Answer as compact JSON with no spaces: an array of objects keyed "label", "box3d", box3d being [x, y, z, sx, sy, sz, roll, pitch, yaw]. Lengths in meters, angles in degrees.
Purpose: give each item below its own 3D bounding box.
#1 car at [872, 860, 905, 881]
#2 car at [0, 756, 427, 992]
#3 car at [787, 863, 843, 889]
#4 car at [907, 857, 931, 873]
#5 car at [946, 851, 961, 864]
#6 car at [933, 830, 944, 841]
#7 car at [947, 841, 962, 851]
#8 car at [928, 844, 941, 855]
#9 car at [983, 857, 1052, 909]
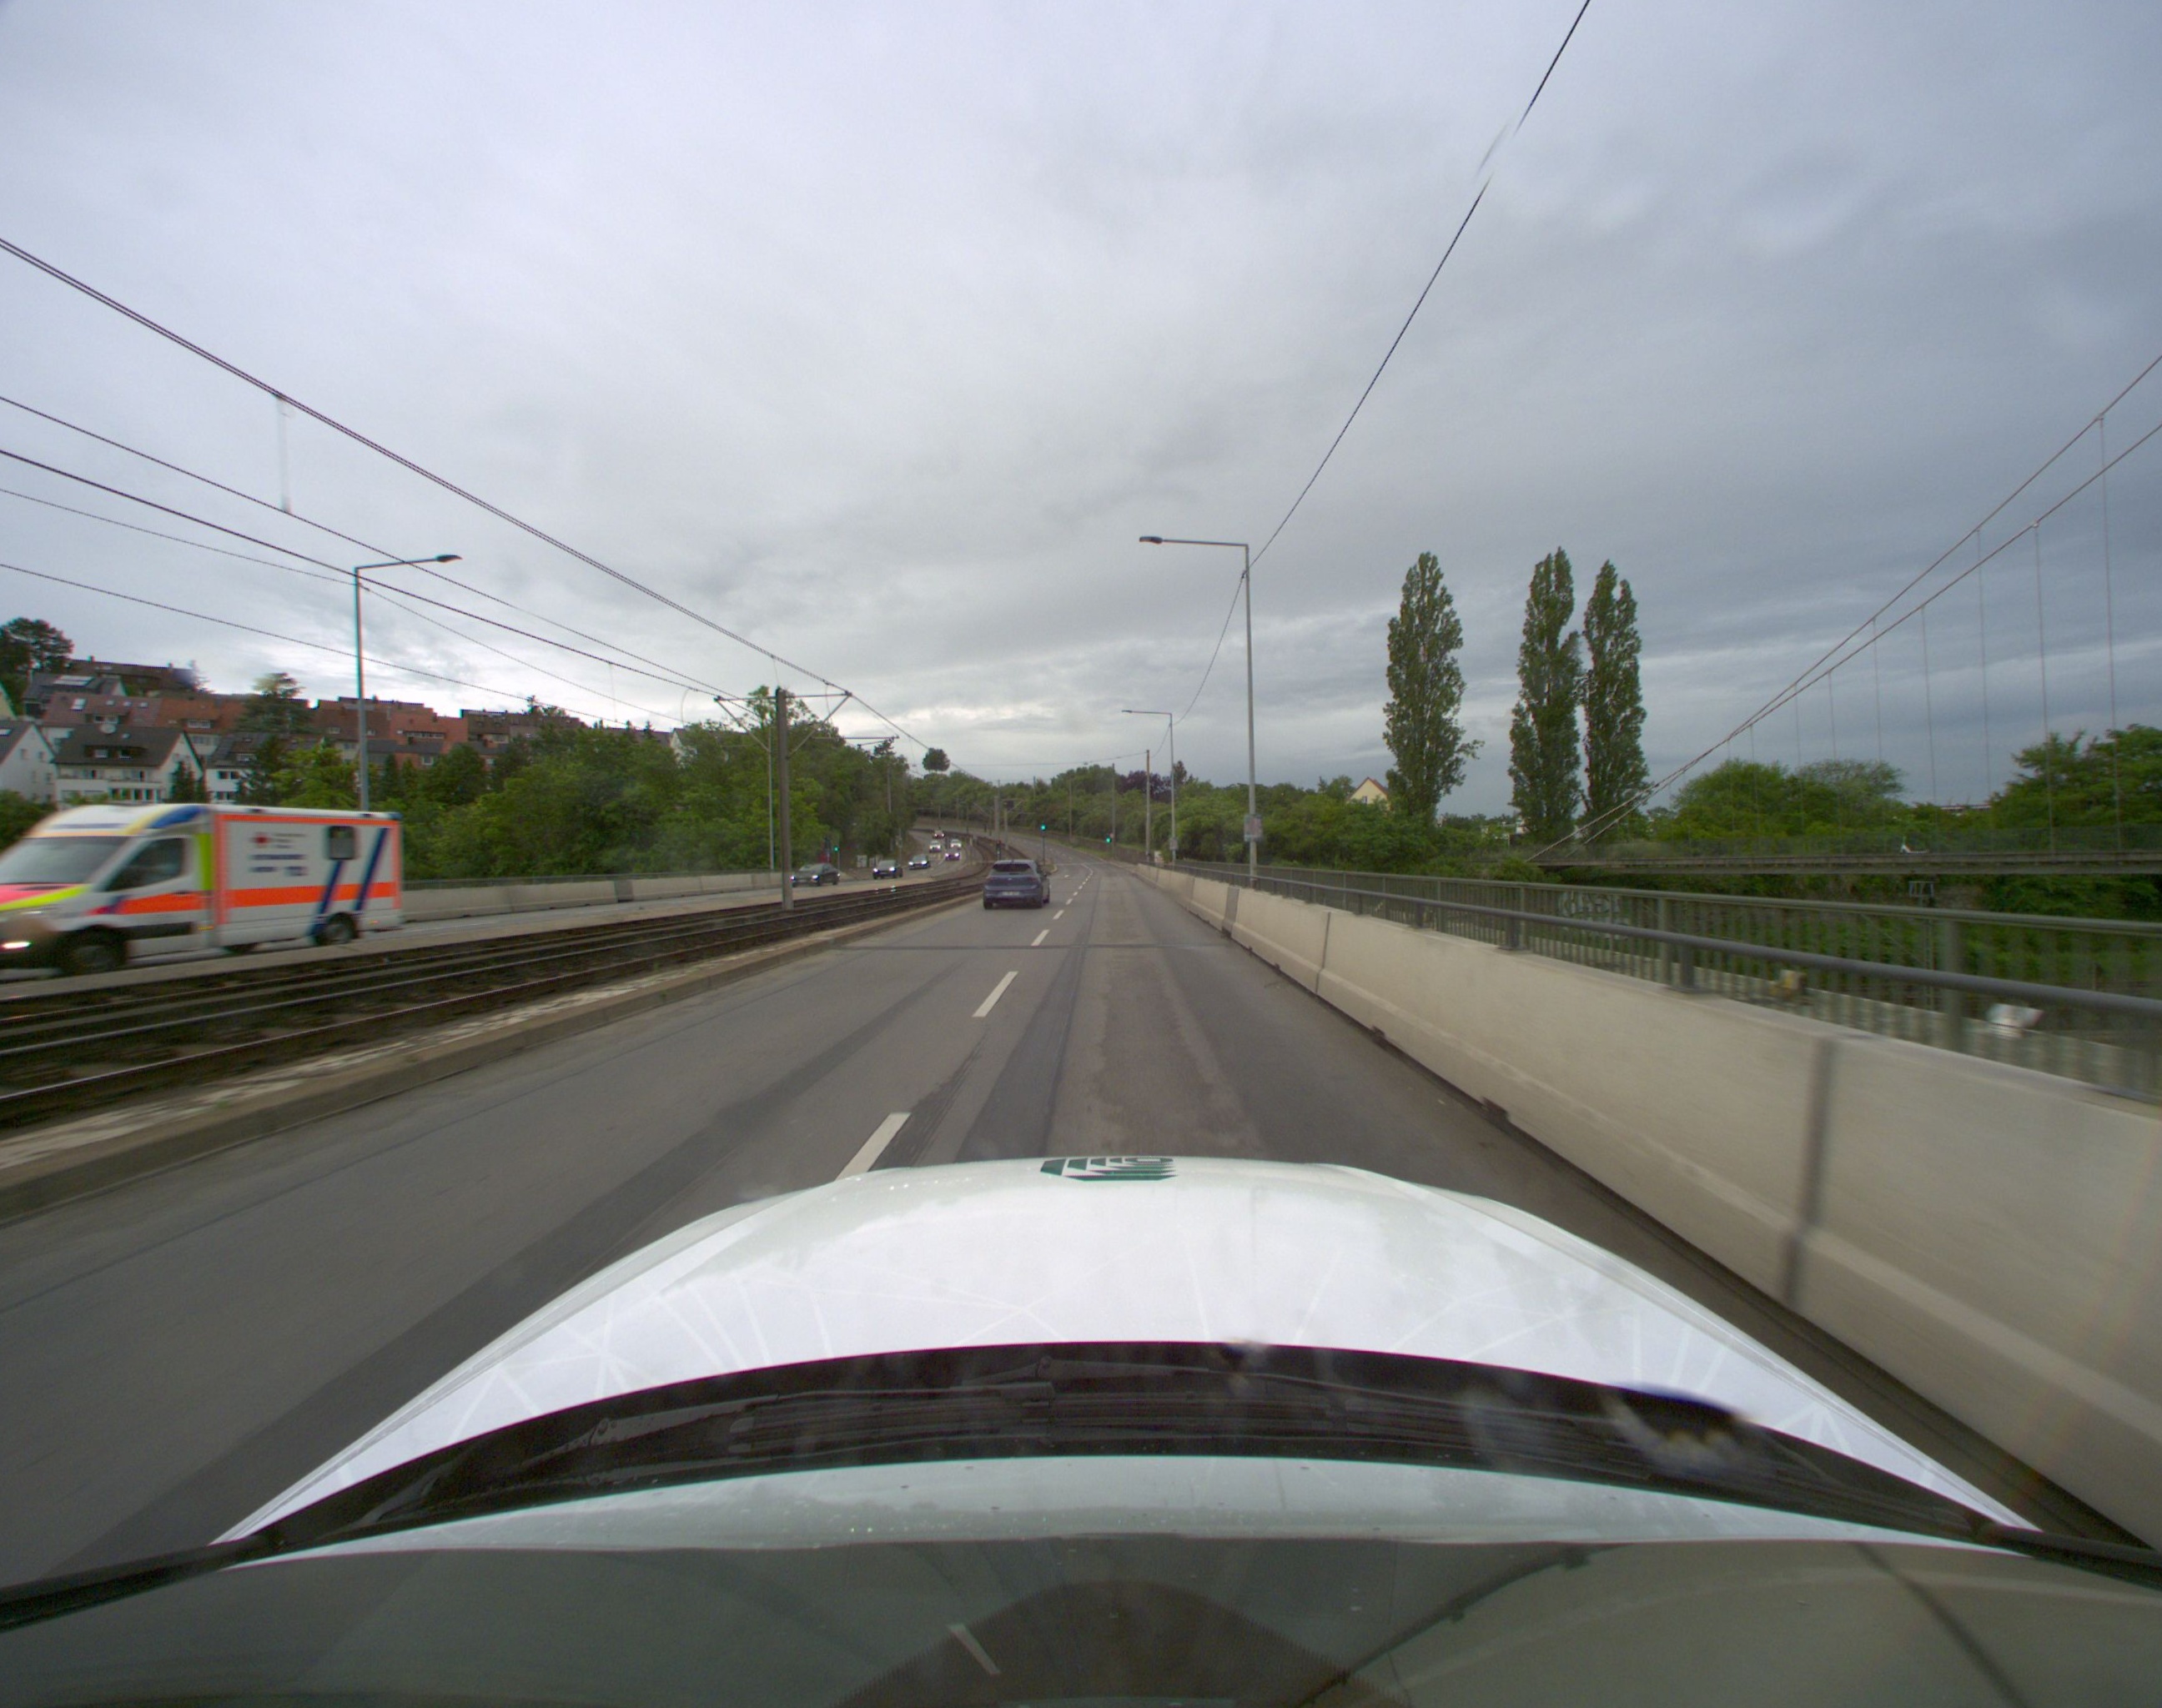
[{"label":"car","box3d":[-16.686,1.410,70.819,1.891,1.597,4.728,-2,0,-2]},{"label":"car","box3d":[-15.010,0.292,13.918,2.381,3.115,6.359,0,-1,1]},{"label":"car","box3d":[-16.855,1.366,51.817,1.809,1.436,4.744,-1,0,2]},{"label":"car","box3d":[-17.873,1.208,90.166,1.965,1.597,5.176,-2,-1,-4]},{"label":"car","box3d":[-16.171,0.458,103.256,1.602,1.493,3.005,-3,1,-13]},{"label":"car","box3d":[-28.502,-3.711,162.986,1.850,1.596,4.713,-3,7,-14]},{"label":"car","box3d":[-19.671,-1.249,126.617,1.733,1.437,4.468,-2,-1,-15]},{"label":"car","box3d":[-21.959,-0.639,122.477,1.821,1.515,4.514,-1,-1,-10]},{"label":"car","box3d":[-1.912,0.855,25.459,1.757,1.501,4.001,0,-1,1]}]
